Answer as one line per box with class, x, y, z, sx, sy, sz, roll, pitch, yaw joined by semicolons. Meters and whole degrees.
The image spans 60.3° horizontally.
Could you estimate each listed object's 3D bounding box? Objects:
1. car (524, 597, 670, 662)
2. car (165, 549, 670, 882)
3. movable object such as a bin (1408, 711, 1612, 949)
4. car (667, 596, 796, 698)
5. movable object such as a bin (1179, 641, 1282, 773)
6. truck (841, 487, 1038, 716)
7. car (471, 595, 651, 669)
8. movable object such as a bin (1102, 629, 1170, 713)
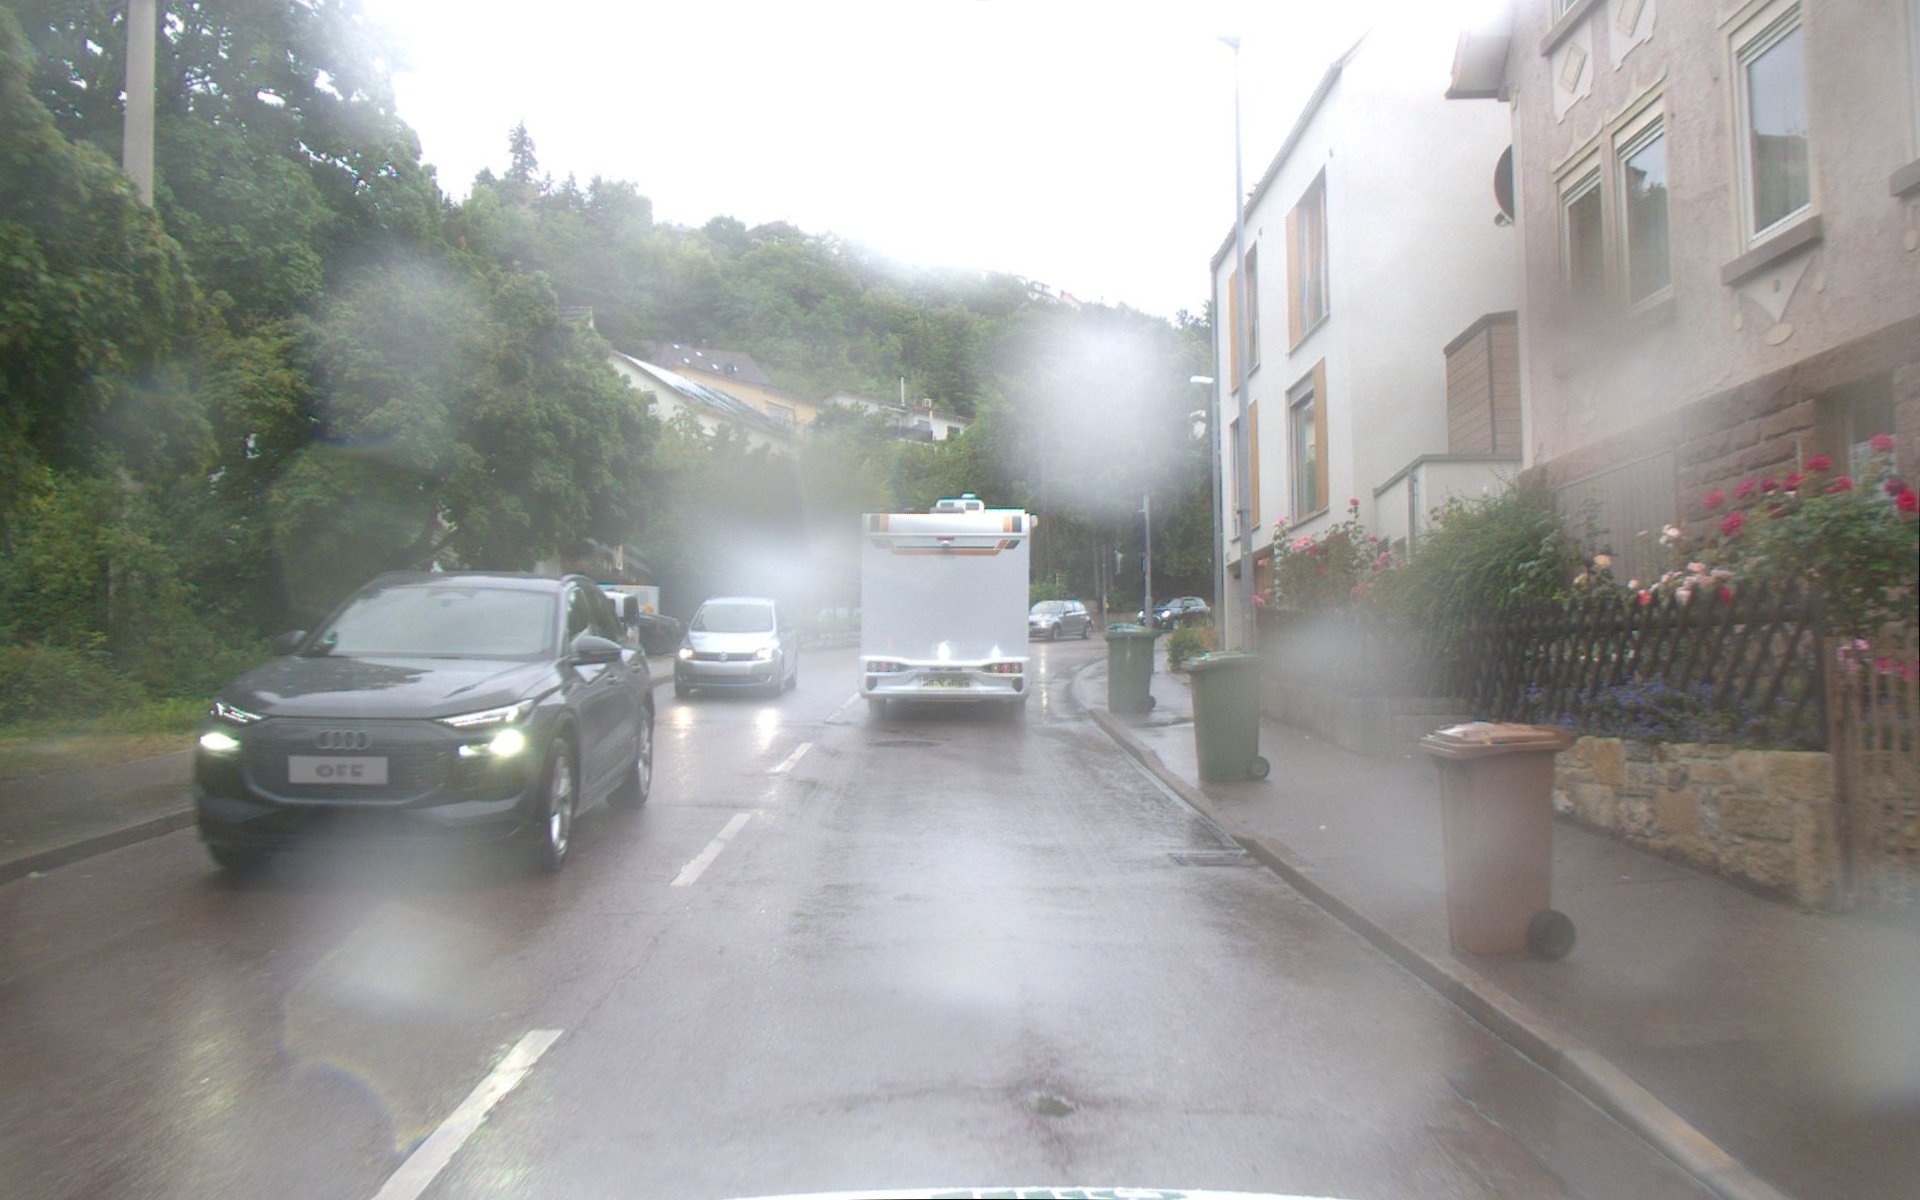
car;-10.439;0.850;47.826;4.003;1.805;1.794;1;-1;-11
car;-3.080;0.588;10.429;1.879;1.652;4.361;0;0;-2
movable object such as a bin;2.309;0.947;7.009;0.617;0.913;0.712;0;-1;-1
car;-3.737;0.736;27.619;1.768;1.581;3.827;0;0;-3
movable object such as a bin;2.328;0.911;14.320;0.780;1.089;0.761;0;-1;0
truck;-0.241;0.035;23.865;2.464;2.867;6.201;0;0;0
car;-10.002;0.792;41.723;4.021;1.831;2.000;0;0;1
movable object such as a bin;2.306;0.922;21.778;0.818;1.079;0.750;0;-1;0
